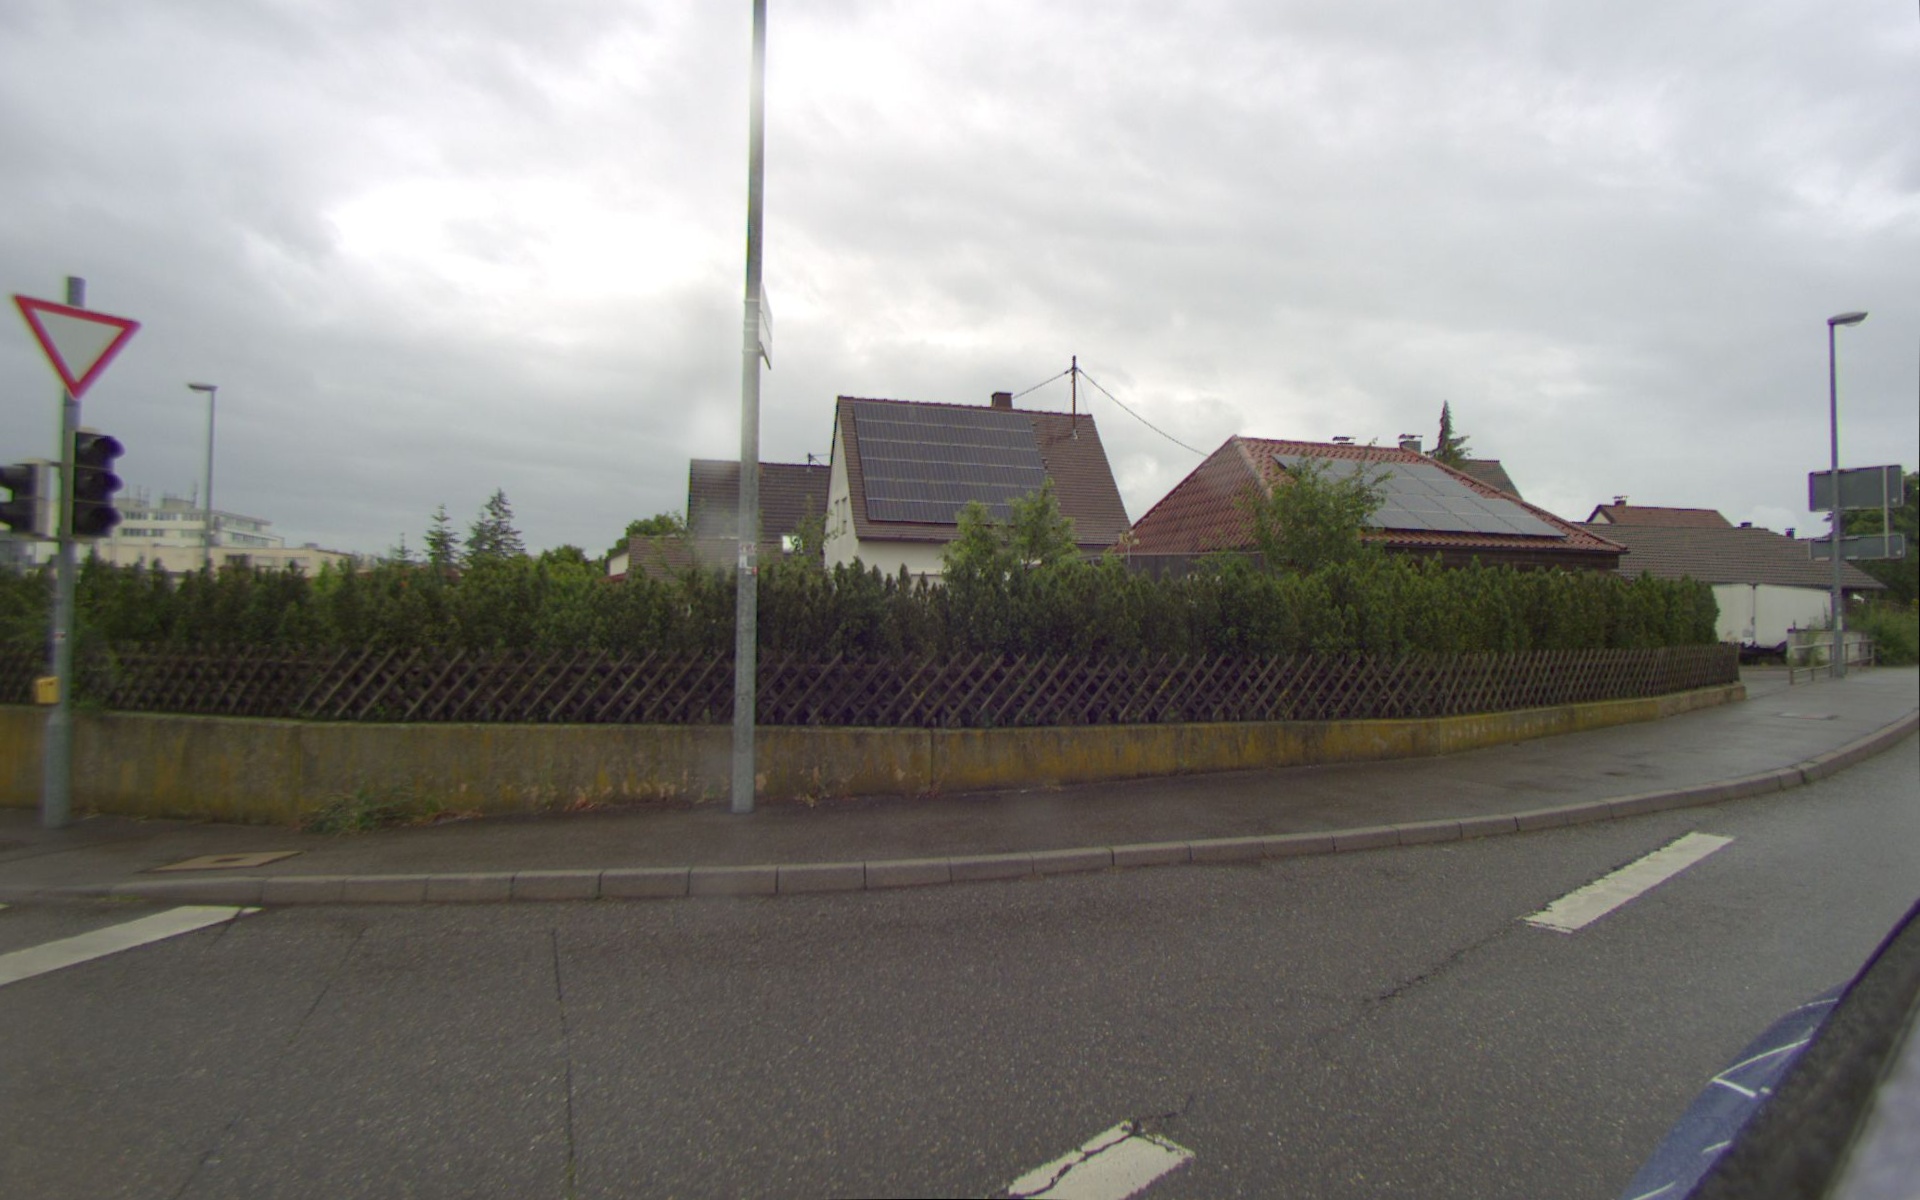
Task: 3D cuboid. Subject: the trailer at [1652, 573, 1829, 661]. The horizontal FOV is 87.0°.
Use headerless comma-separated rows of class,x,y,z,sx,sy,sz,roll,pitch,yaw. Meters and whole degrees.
trailer,23.682,0.512,30.742,4.605,2.550,1.652,0,-2,-13
